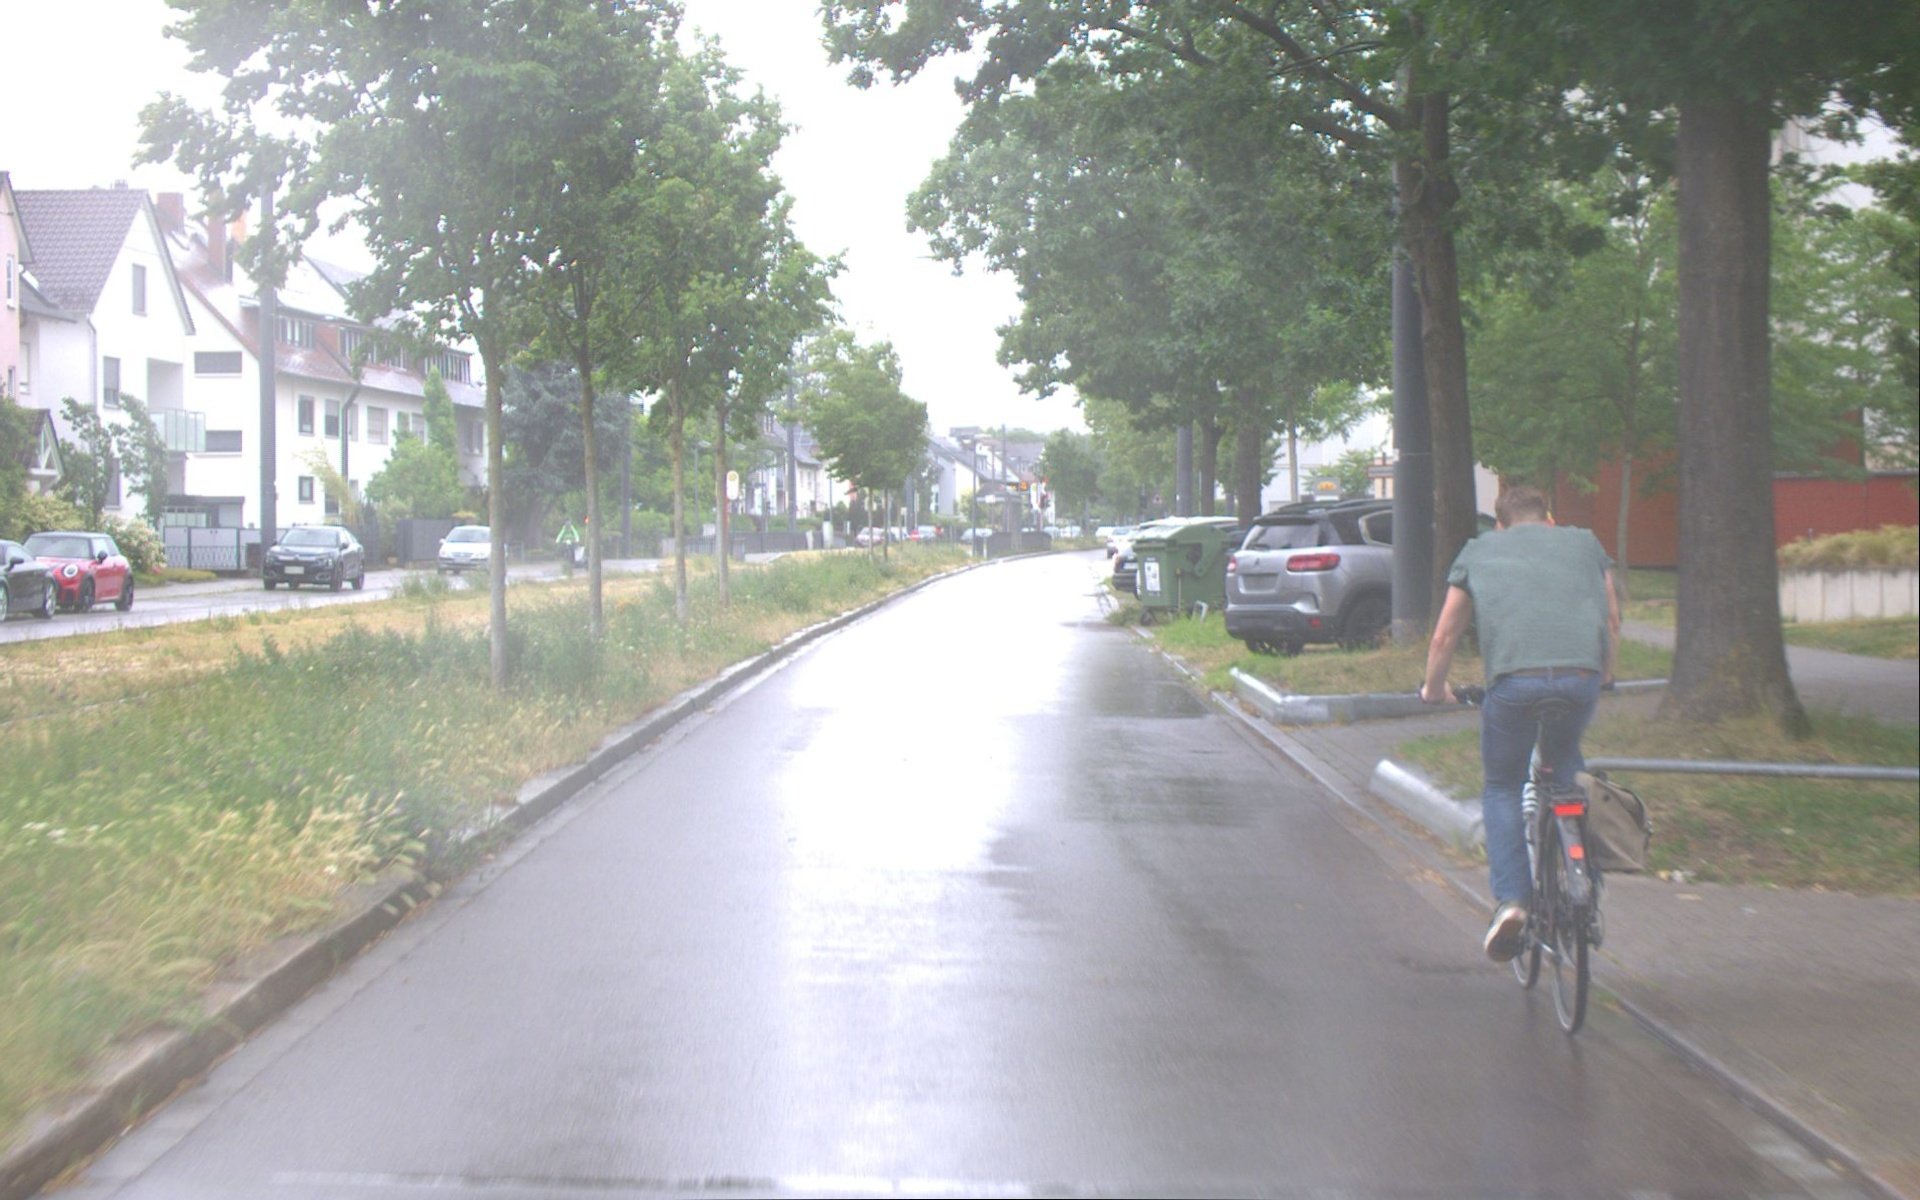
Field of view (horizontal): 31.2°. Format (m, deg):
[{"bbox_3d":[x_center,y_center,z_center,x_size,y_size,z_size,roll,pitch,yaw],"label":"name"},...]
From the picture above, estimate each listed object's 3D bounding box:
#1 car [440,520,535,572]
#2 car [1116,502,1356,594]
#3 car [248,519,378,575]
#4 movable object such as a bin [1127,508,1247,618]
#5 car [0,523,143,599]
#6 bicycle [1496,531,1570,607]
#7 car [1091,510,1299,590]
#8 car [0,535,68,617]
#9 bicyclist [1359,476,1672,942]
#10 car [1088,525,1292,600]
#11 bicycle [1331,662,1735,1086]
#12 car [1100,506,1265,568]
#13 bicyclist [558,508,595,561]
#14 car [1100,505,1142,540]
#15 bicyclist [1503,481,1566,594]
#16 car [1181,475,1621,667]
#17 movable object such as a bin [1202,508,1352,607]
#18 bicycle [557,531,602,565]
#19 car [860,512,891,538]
[{"bbox_3d":[-14.283,-1.657,104.255,1.897,1.464,4.687,2,2,4],"label":"car"},{"bbox_3d":[4.809,-0.923,59.678,4.028,1.514,1.585,-1,2,-33],"label":"car"},{"bbox_3d":[-15.389,-1.283,81.967,1.897,1.240,4.687,2,2,4],"label":"car"},{"bbox_3d":[3.264,-0.539,49.555,1.125,1.452,1.401,-7,3,-20],"label":"movable object such as a bin"},{"bbox_3d":[-15.926,-0.718,61.256,1.674,1.240,3.855,2,2,2],"label":"car"},{"bbox_3d":[8.180,-0.459,49.104,0.734,1.053,2.051,0,1,1],"label":"bicycle"},{"bbox_3d":[4.488,-0.973,65.321,4.030,1.438,1.585,-2,2,-43],"label":"car"},{"bbox_3d":[-15.967,-0.419,56.075,1.663,1.240,4.071,2,2,1],"label":"car"},{"bbox_3d":[1.777,0.324,11.145,0.809,1.428,1.060,-1,1,-1],"label":"bicyclist"},{"bbox_3d":[4.667,-0.777,69.530,4.028,1.438,1.585,-2,2,-35],"label":"car"},{"bbox_3d":[1.779,0.808,11.113,0.809,1.093,2.517,-1,2,-2],"label":"bicycle"},{"bbox_3d":[5.616,-1.607,86.636,4.028,1.508,1.585,-2,2,-35],"label":"car"},{"bbox_3d":[-12.183,-2.084,109.341,1.018,1.679,1.092,0,1,1],"label":"bicyclist"},{"bbox_3d":[7.323,-3.533,156.724,1.833,1.580,4.000,0,2,1],"label":"car"},{"bbox_3d":[8.183,-0.897,49.023,0.734,1.588,0.945,-1,1,1],"label":"bicyclist"},{"bbox_3d":[4.600,-0.337,35.769,4.135,1.713,2.000,-4,3,-31],"label":"car"},{"bbox_3d":[4.588,-0.628,49.776,1.681,1.321,1.401,-3,2,-20],"label":"movable object such as a bin"},{"bbox_3d":[-12.159,-1.674,110.060,1.018,1.024,3.197,0,2,1],"label":"bicycle"},{"bbox_3d":[-5.486,-4.893,222.867,1.843,1.666,4.000,0,2,1],"label":"car"}]
